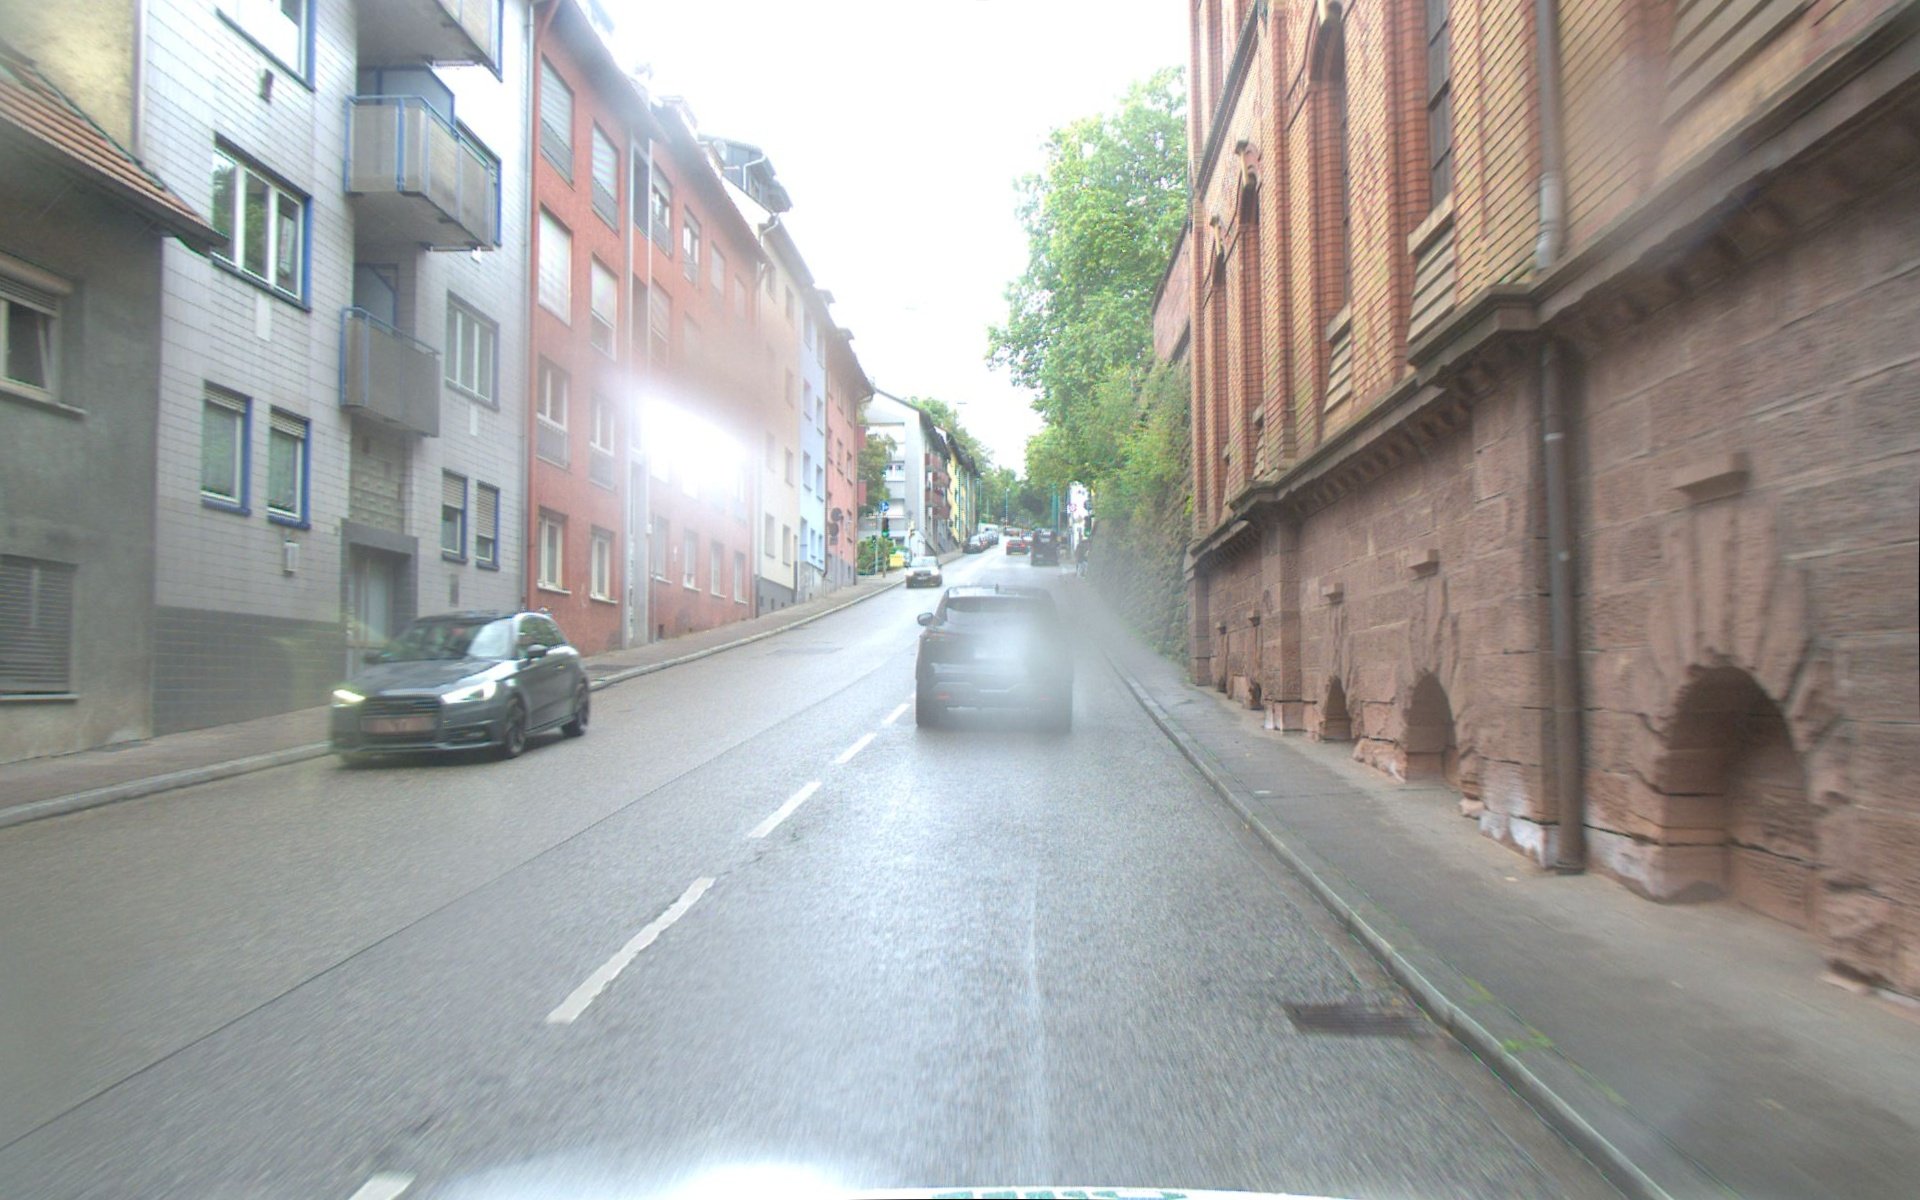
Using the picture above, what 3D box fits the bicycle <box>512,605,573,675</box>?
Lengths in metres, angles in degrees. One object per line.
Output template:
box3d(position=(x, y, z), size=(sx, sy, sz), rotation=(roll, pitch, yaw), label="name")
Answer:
box3d(position=(-7.329, 0.686, 29.097), size=(0.488, 1.127, 1.801), rotation=(0, 1, 4), label="bicycle")

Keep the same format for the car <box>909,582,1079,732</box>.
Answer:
box3d(position=(0.421, 0.597, 19.894), size=(1.842, 1.621, 3.922), rotation=(0, 0, 1), label="car")

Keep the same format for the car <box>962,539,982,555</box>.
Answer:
box3d(position=(1.183, -5.267, 164.239), size=(1.757, 1.536, 4.002), rotation=(-1, 1, 3), label="car")

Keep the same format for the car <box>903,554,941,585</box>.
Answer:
box3d(position=(-1.866, -1.542, 82.438), size=(1.678, 1.473, 3.923), rotation=(-1, 2, 2), label="car")

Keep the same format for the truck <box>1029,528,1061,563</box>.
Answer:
box3d(position=(6.119, -3.913, 119.334), size=(2.241, 2.482, 4.454), rotation=(-1, 1, 3), label="truck")

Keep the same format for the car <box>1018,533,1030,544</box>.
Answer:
box3d(position=(9.538, -9.188, 246.003), size=(1.757, 1.536, 4.002), rotation=(-1, 1, 3), label="car")

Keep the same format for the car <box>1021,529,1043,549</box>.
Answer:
box3d(position=(5.864, -4.922, 134.257), size=(1.757, 1.536, 4.502), rotation=(-1, 1, 3), label="car")

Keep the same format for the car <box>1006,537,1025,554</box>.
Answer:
box3d(position=(5.262, -5.181, 156.591), size=(1.757, 1.536, 4.002), rotation=(-1, 1, 3), label="car")

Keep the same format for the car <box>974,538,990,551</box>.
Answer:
box3d(position=(2.789, -6.994, 209.029), size=(1.757, 1.536, 4.002), rotation=(-1, 1, 3), label="car")

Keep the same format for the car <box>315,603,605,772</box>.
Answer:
box3d(position=(-4.889, 0.791, 16.734), size=(1.610, 1.402, 3.852), rotation=(-2, 0, 2), label="car")
